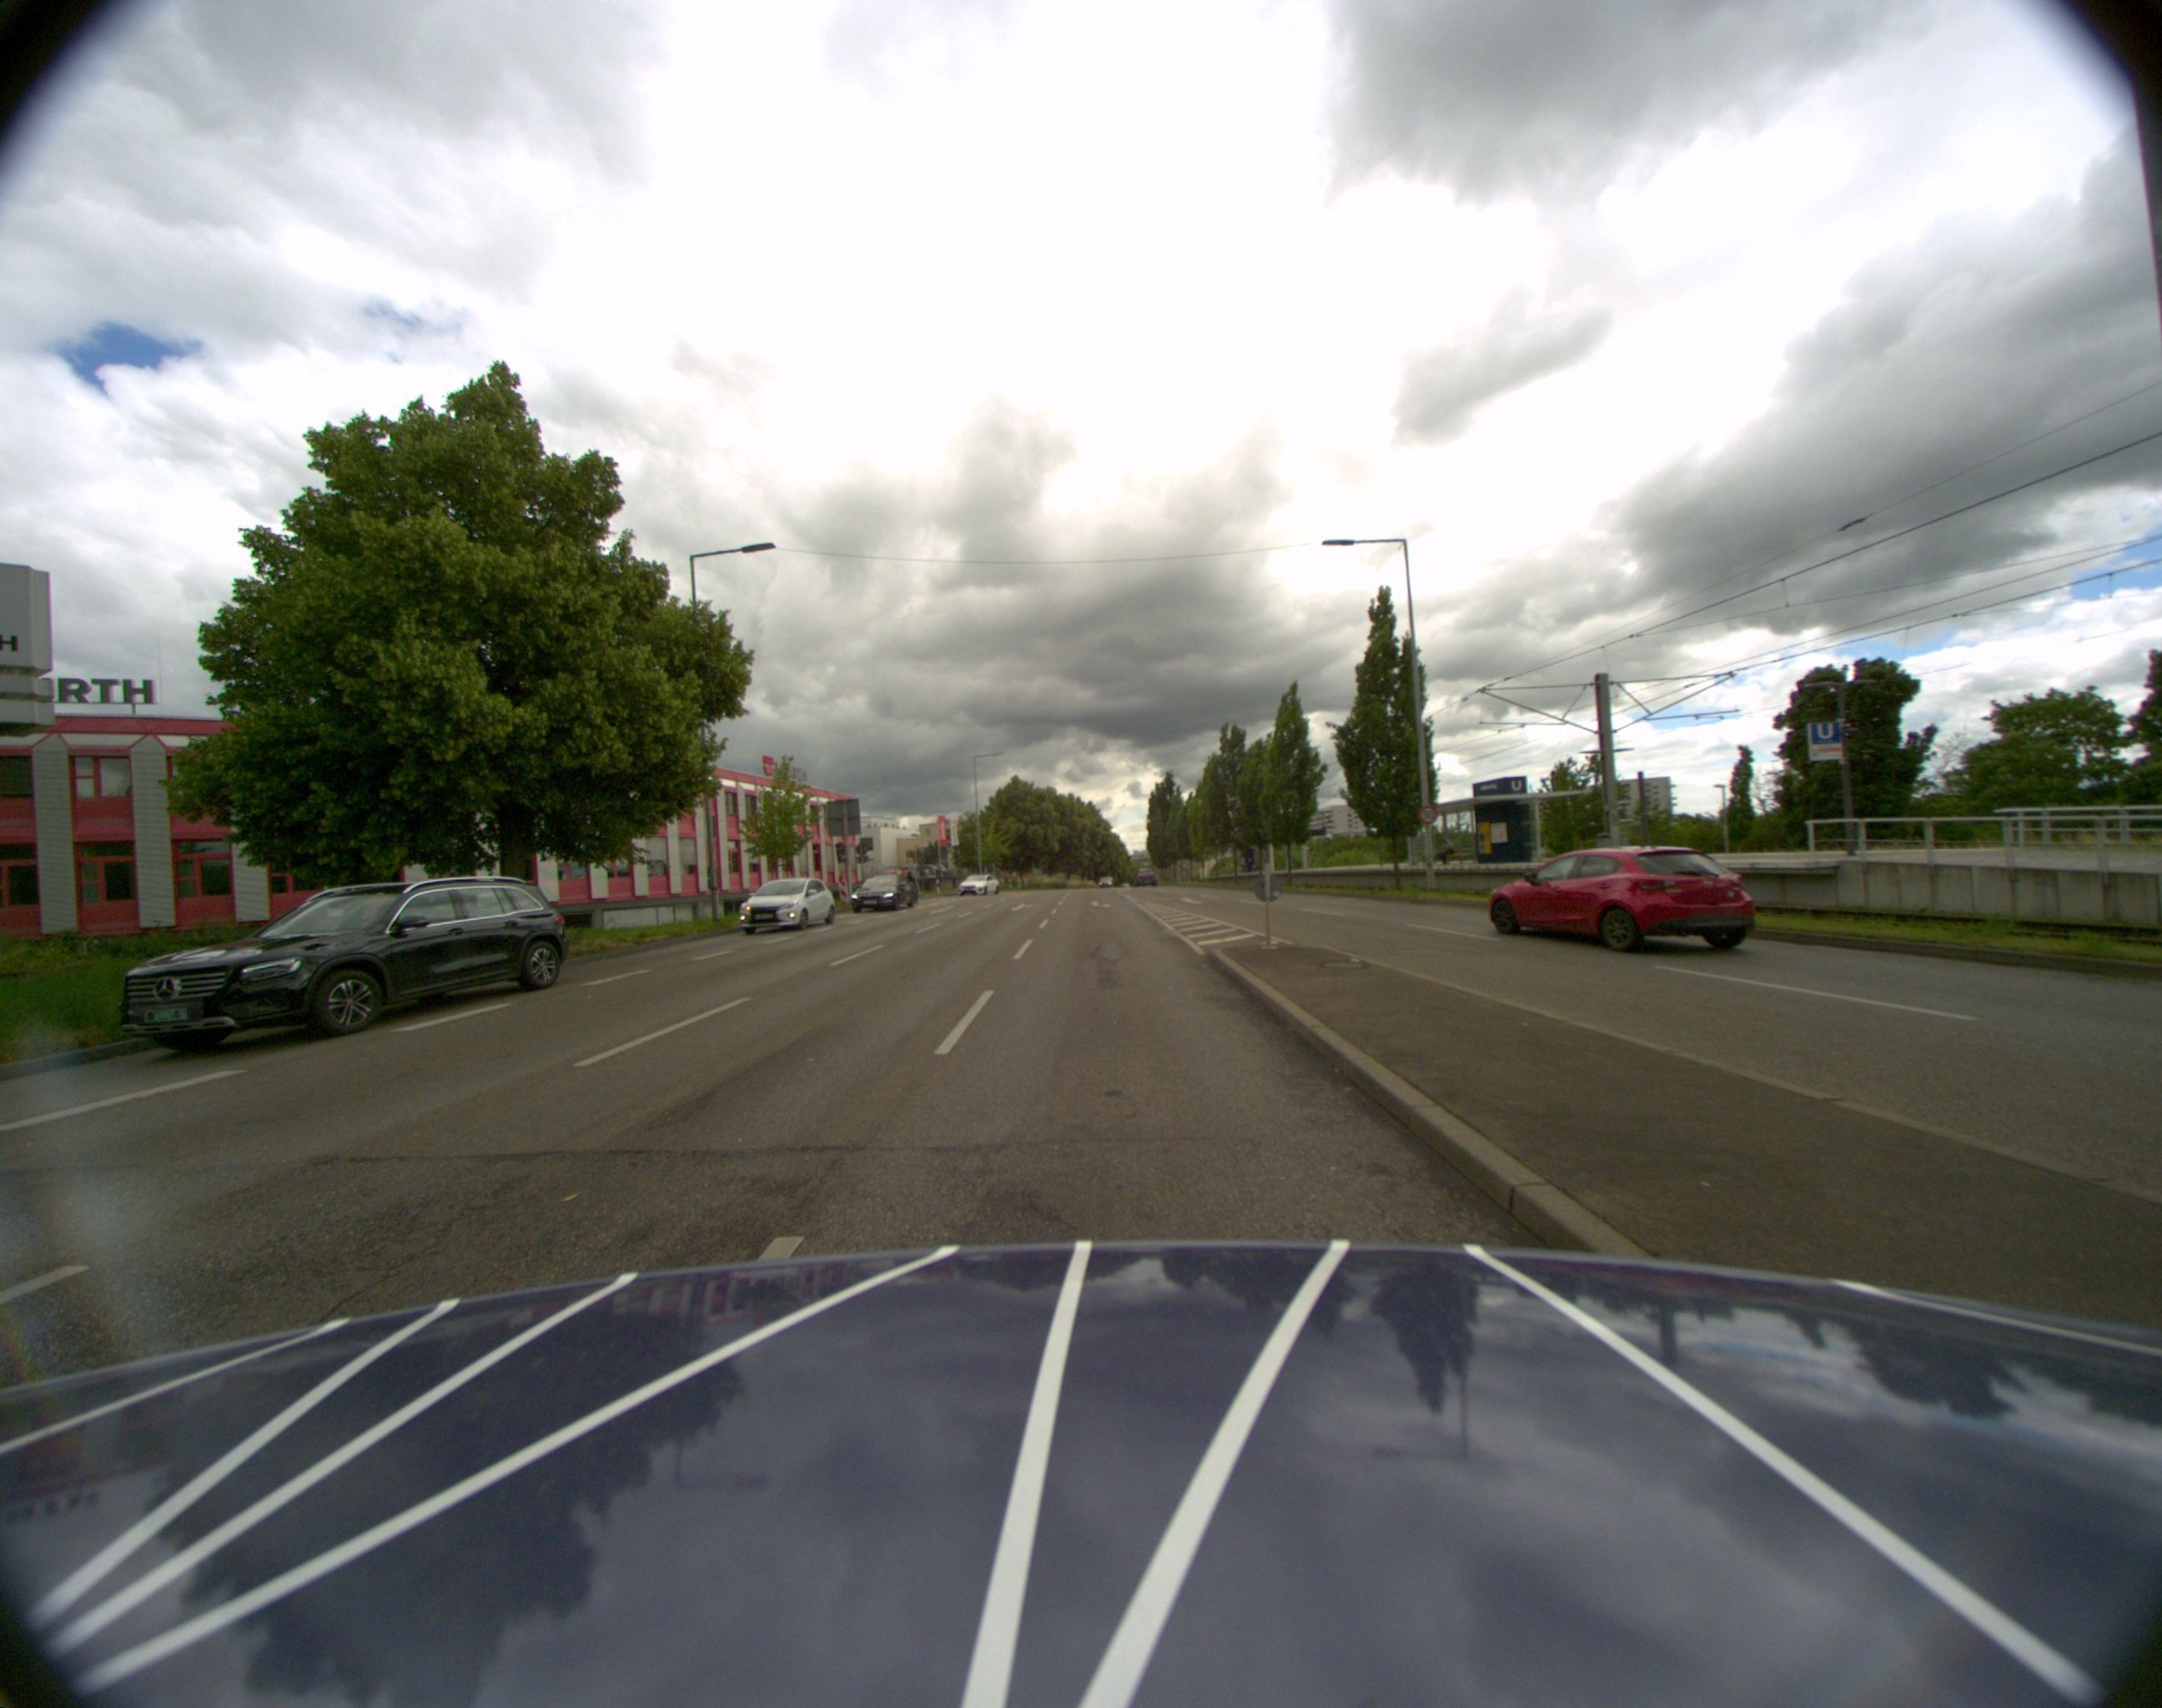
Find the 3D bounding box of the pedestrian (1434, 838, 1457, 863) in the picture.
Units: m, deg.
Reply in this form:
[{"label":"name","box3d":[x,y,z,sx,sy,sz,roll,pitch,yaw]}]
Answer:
[{"label":"pedestrian","box3d":[17.612,-0.176,36.728,0.663,1.195,0.782,-2,0,-7]}]

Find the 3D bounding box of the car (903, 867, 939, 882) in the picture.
[{"label":"car","box3d":[-21.228,2.683,100.998,4.248,1.744,1.784,-2,0,2]}]

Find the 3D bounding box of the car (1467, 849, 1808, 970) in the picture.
[{"label":"car","box3d":[8.145,0.690,11.772,1.786,1.434,4.423,-3,0,-4]}]

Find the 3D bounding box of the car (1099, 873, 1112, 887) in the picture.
[{"label":"car","box3d":[3.538,3.747,110.044,1.782,1.744,4.252,-2,0,1]}]

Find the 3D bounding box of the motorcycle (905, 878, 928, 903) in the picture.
[{"label":"motorcycle","box3d":[-8.332,1.830,38.497,0.750,1.140,1.943,-4,-1,-3]}]

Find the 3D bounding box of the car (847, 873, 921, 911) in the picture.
[{"label":"car","box3d":[-8.076,1.543,31.607,1.785,1.437,4.530,-1,-2,1]}]

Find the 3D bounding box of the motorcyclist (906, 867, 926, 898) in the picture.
[{"label":"motorcyclist","box3d":[-8.346,1.439,38.371,0.750,1.481,0.933,-4,-1,-3]}]

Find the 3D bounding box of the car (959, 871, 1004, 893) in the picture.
[{"label":"car","box3d":[-6.747,1.916,51.892,1.784,1.353,4.484,-3,-3,9]}]

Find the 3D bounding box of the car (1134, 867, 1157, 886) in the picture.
[{"label":"car","box3d":[5.854,1.978,68.941,1.782,1.537,4.225,-2,0,2]}]

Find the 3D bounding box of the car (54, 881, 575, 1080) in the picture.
[{"label":"car","box3d":[-8.725,1.274,9.394,1.785,1.640,4.426,-5,-1,1]}]

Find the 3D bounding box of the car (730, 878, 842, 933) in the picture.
[{"label":"car","box3d":[-8.511,1.445,22.280,1.785,1.434,3.835,-1,-2,0]}]
